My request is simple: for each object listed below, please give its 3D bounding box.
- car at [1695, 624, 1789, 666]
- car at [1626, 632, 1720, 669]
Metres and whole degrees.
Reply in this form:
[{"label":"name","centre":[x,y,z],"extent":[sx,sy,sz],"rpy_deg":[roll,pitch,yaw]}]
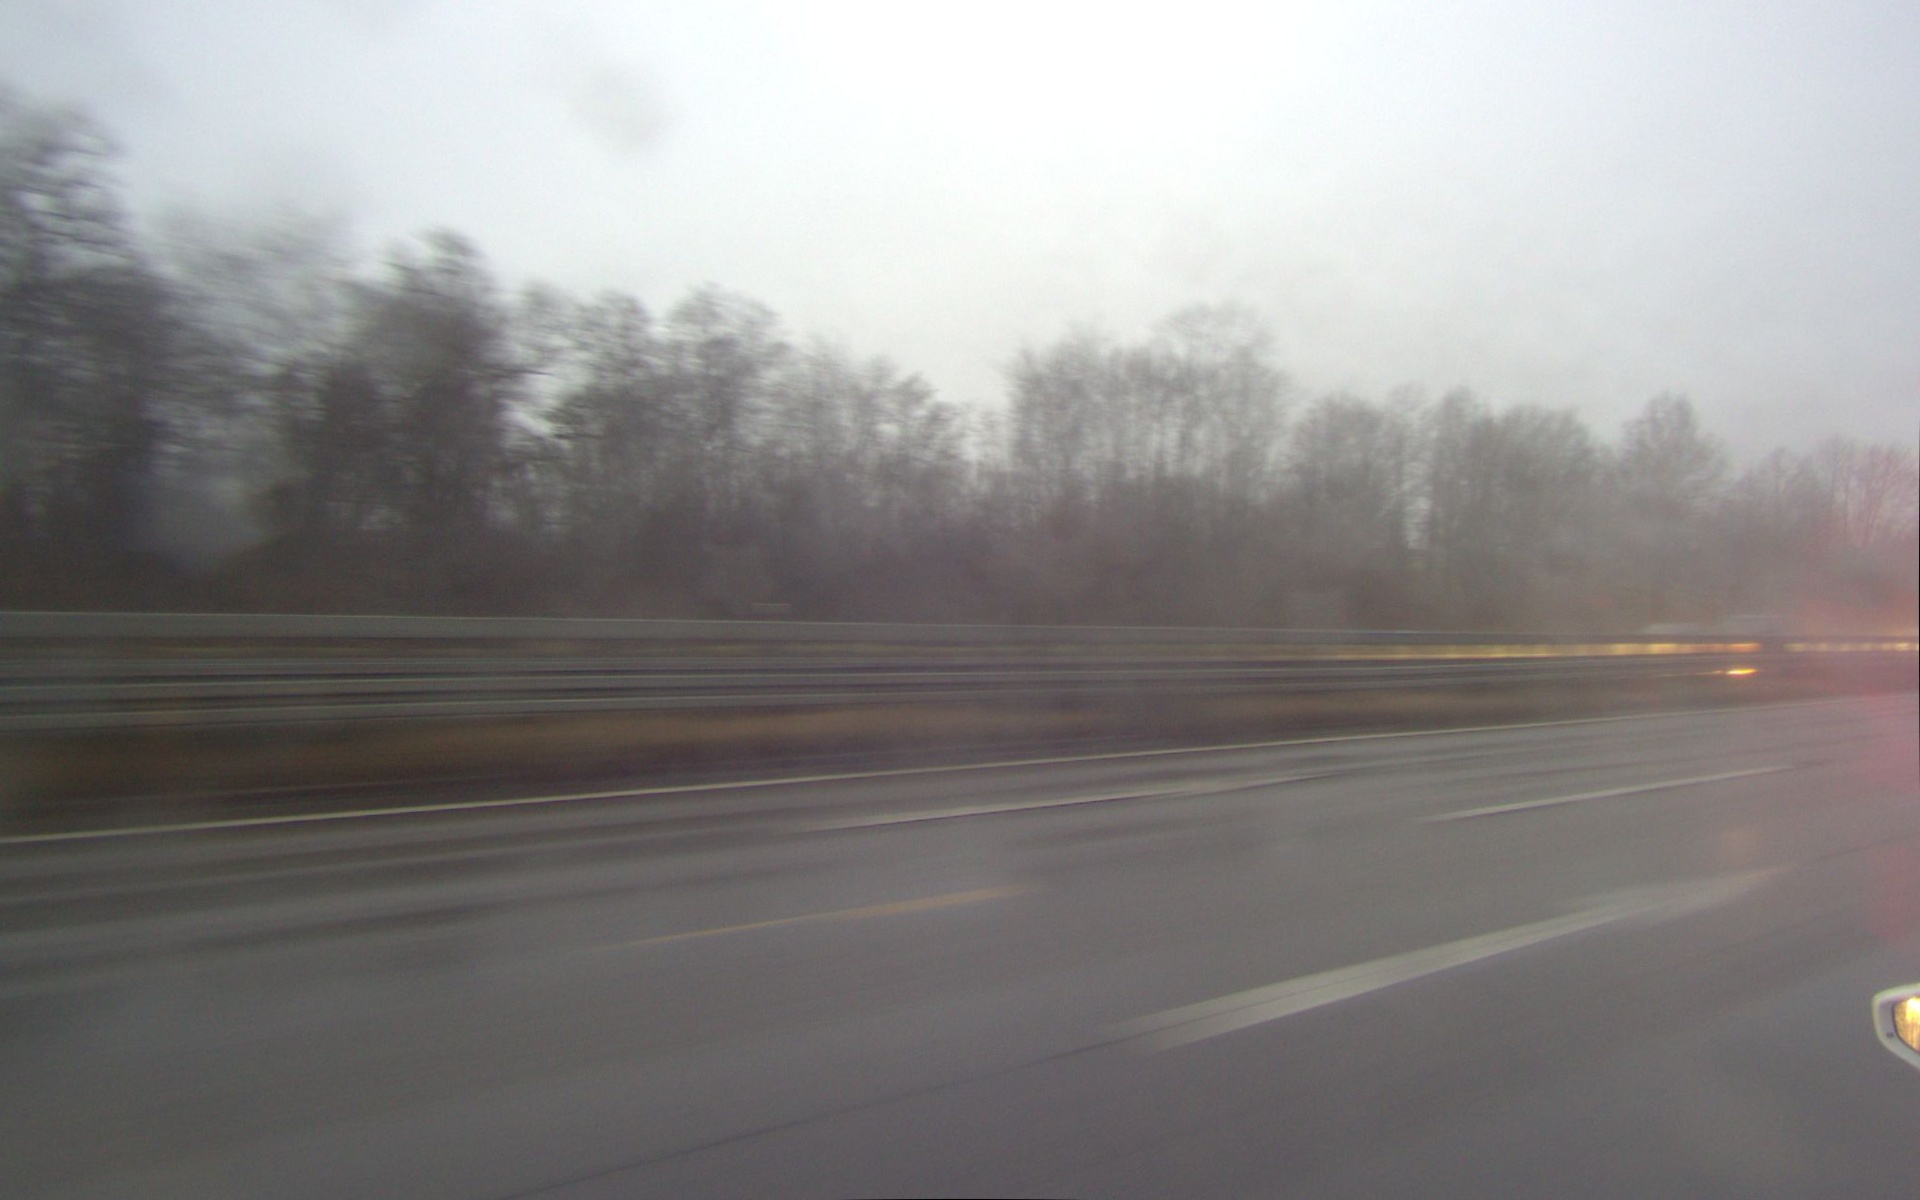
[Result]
[{"label":"car","centre":[29.791,1.715,38.234],"extent":[3.801,1.394,1.565],"rpy_deg":[3,0,-32]},{"label":"car","centre":[30.582,2.178,43.065],"extent":[4.731,1.394,1.565],"rpy_deg":[3,0,-32]}]
